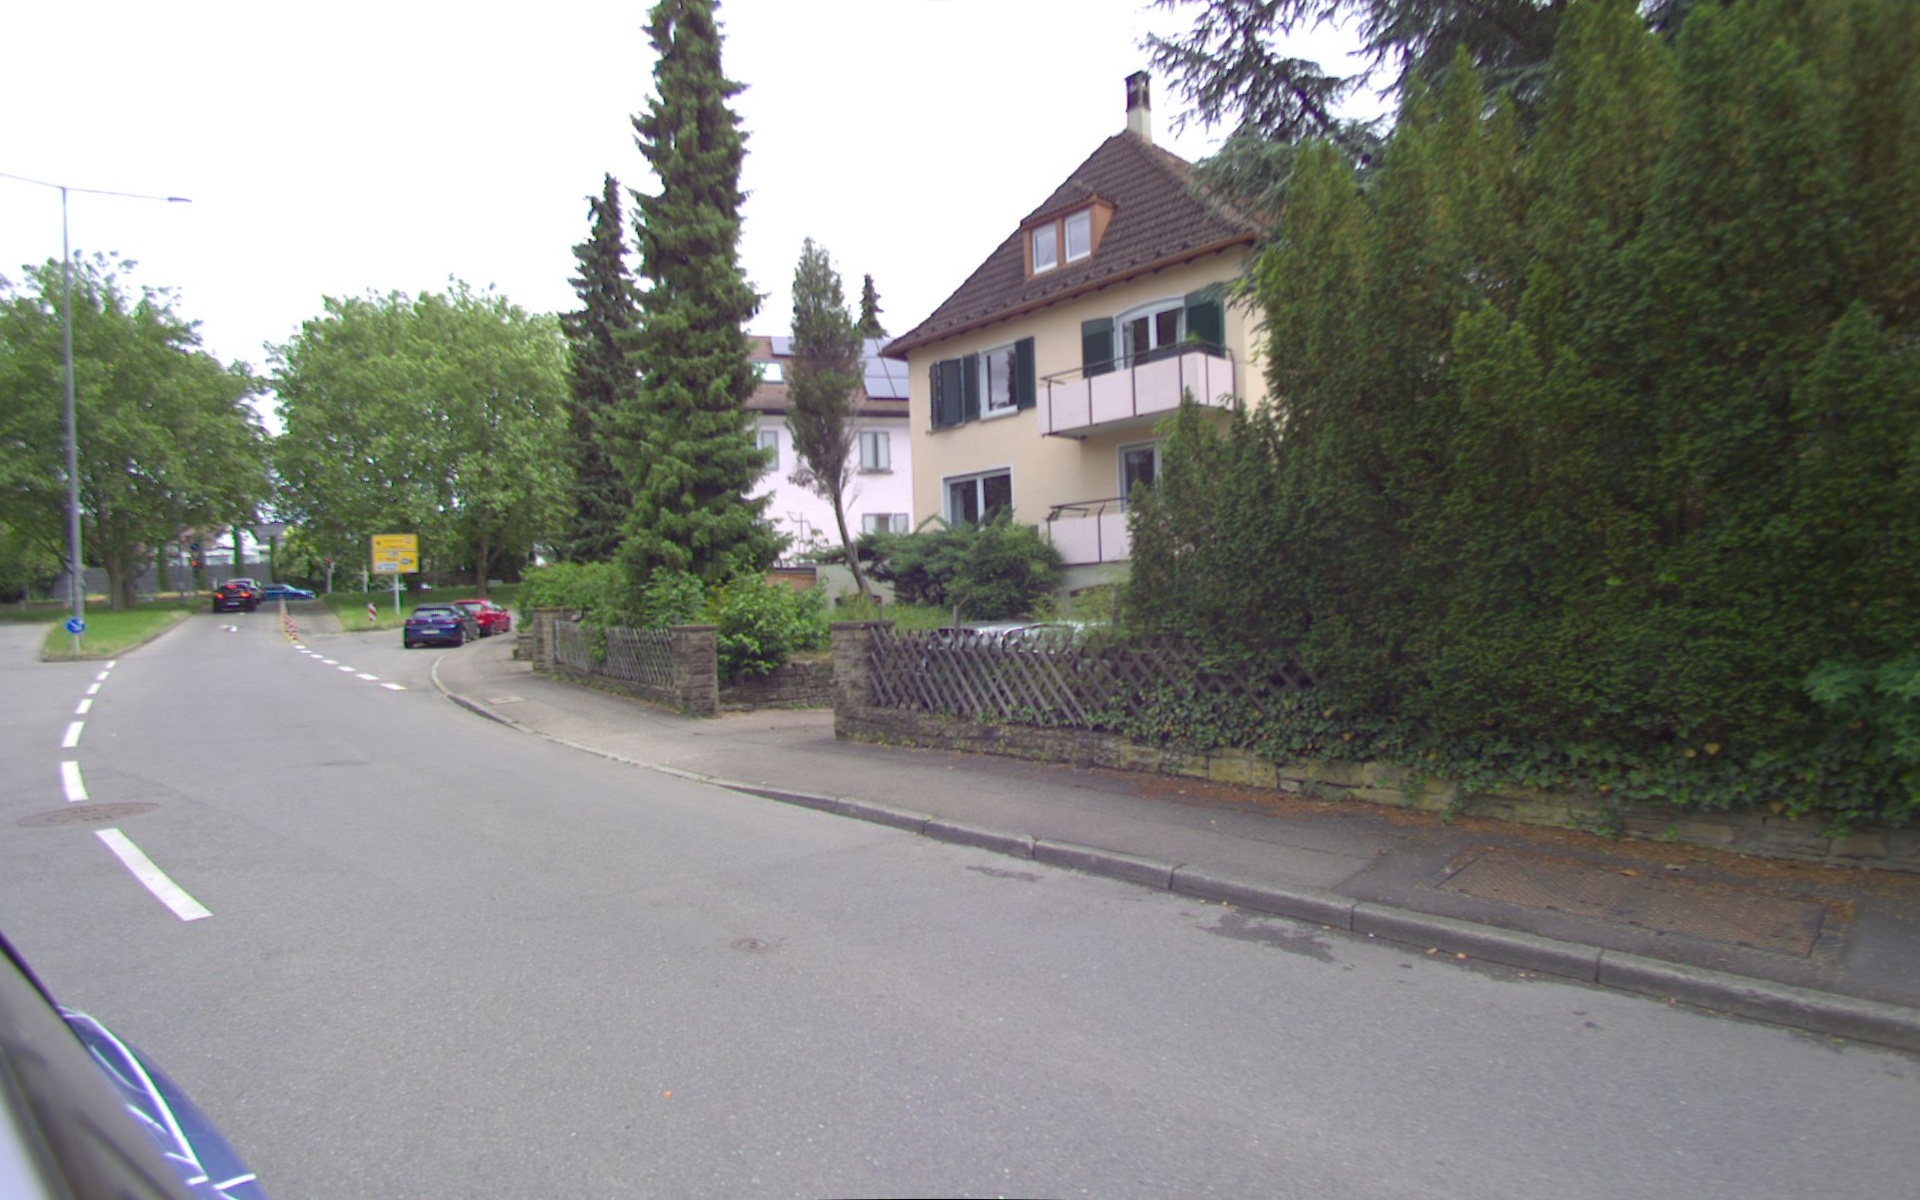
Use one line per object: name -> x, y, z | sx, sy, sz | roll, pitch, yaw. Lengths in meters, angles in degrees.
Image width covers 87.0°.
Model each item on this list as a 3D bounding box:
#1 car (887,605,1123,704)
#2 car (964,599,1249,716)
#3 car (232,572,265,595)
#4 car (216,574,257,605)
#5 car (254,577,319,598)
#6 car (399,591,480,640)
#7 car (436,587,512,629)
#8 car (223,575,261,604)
car -> 0.771, 0.879, 16.474 | 3.506, 1.431, 1.833 | 2, -4, -39
car -> 2.147, 0.804, 14.417 | 3.829, 1.431, 1.925 | 2, -4, -39
car -> -50.810, -1.201, 72.310 | 1.733, 1.528, 4.399 | -3, 2, -33
car -> -42.003, -0.637, 58.826 | 1.733, 1.603, 4.626 | -3, 4, -33
car -> -55.509, -1.042, 83.489 | 4.086, 1.440, 1.798 | -3, -2, -3
car -> -17.755, 0.482, 34.680 | 1.703, 1.485, 4.328 | -2, 1, -17
car -> -18.986, 0.259, 39.746 | 1.704, 1.485, 4.289 | -1, 1, -12
car -> -47.615, -0.688, 67.157 | 1.826, 1.671, 4.919 | -3, 0, -33
